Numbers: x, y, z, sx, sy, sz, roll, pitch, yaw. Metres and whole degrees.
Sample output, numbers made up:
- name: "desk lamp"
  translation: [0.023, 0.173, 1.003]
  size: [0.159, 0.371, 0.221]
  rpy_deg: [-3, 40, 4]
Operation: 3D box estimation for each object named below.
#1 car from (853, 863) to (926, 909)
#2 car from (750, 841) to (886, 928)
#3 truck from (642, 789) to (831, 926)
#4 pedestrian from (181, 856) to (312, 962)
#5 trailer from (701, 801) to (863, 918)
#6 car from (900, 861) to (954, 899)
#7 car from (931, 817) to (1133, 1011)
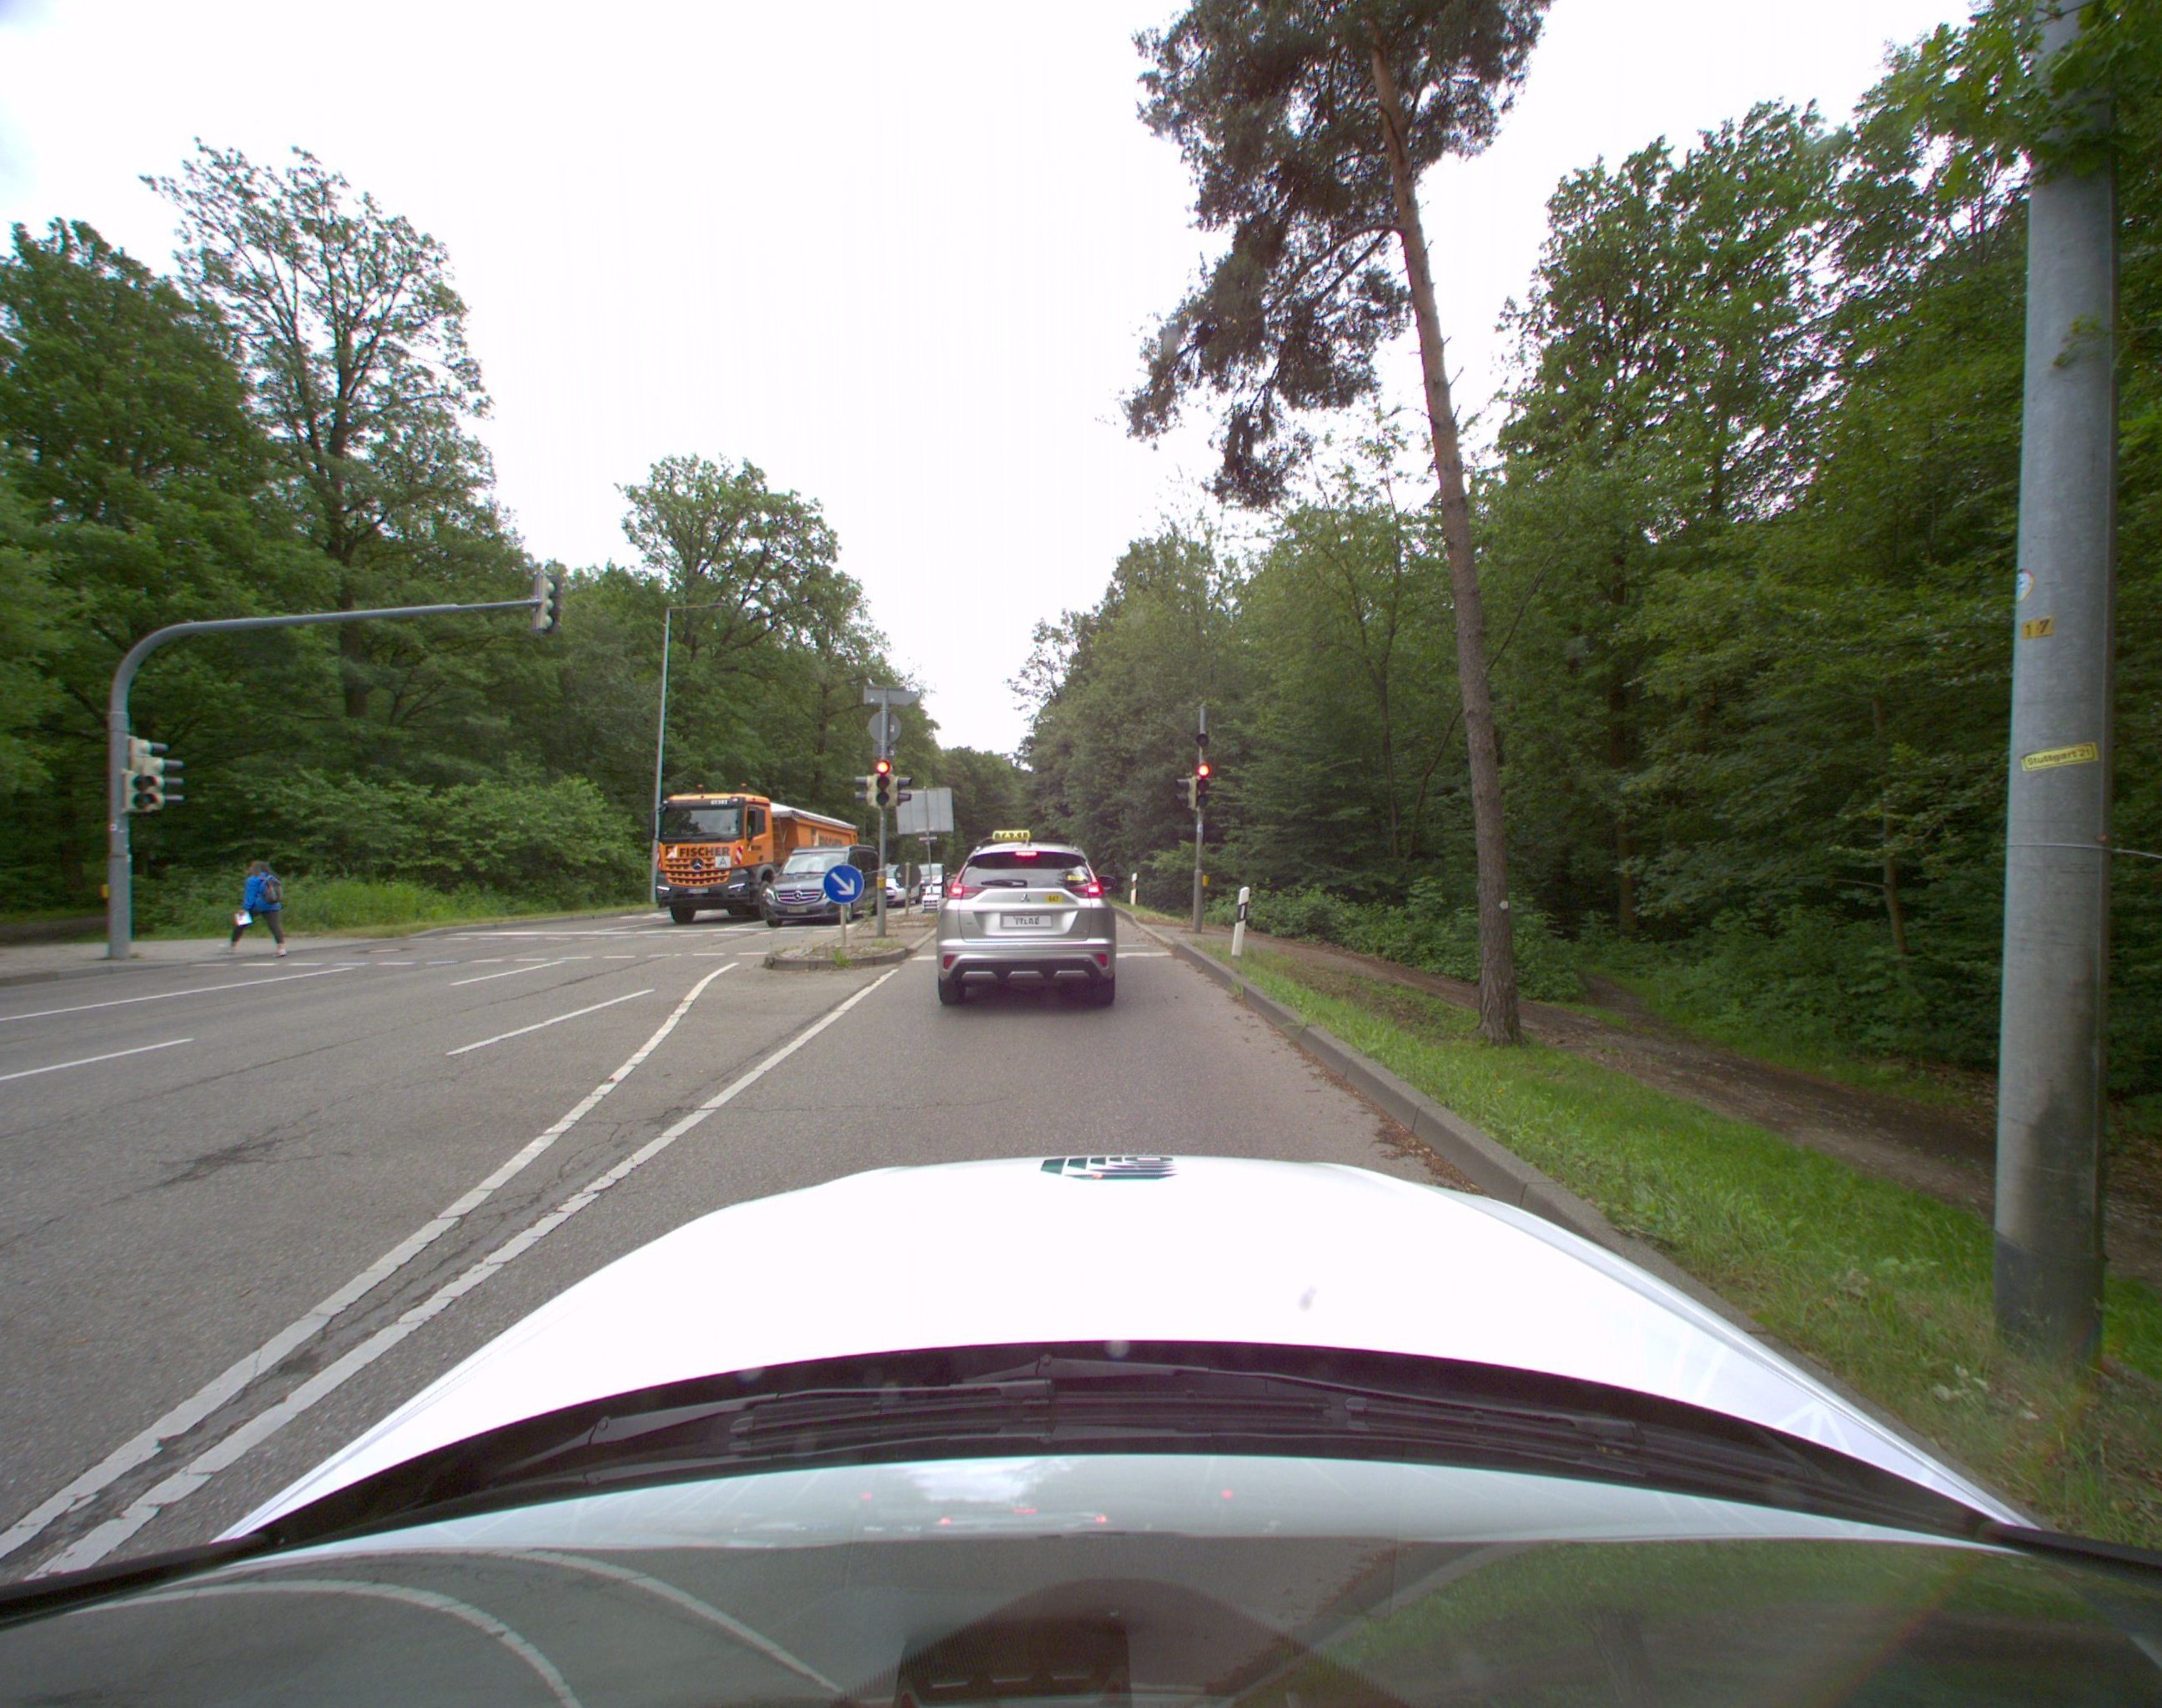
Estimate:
- name: "car"
  translation: [-6.498, 1.058, 27.969]
  size: [1.607, 1.321, 3.720]
  rpy_deg: [-3, 0, -1]
- name: "car"
  translation: [-6.514, 0.714, 20.809]
  size: [1.988, 1.894, 4.835]
  rpy_deg: [-2, -1, -2]
- name: "truck"
  translation: [-9.559, 0.145, 23.599]
  size: [2.733, 3.318, 7.150]
  rpy_deg: [-2, -1, -3]
- name: "pedestrian"
  translation: [-14.106, 0.891, 13.801]
  size: [1.042, 1.649, 1.070]
  rpy_deg: [3, 1, 5]
- name: "trailer"
  translation: [-9.796, 0.230, 27.829]
  size: [2.733, 3.318, 8.557]
  rpy_deg: [-2, -1, -3]
- name: "car"
  translation: [-6.846, 1.121, 36.474]
  size: [1.807, 1.508, 3.717]
  rpy_deg: [-3, -1, -3]
- name: "car"
  translation: [-0.546, 0.534, 9.513]
  size: [1.842, 1.780, 3.996]
  rpy_deg: [0, 1, -3]
